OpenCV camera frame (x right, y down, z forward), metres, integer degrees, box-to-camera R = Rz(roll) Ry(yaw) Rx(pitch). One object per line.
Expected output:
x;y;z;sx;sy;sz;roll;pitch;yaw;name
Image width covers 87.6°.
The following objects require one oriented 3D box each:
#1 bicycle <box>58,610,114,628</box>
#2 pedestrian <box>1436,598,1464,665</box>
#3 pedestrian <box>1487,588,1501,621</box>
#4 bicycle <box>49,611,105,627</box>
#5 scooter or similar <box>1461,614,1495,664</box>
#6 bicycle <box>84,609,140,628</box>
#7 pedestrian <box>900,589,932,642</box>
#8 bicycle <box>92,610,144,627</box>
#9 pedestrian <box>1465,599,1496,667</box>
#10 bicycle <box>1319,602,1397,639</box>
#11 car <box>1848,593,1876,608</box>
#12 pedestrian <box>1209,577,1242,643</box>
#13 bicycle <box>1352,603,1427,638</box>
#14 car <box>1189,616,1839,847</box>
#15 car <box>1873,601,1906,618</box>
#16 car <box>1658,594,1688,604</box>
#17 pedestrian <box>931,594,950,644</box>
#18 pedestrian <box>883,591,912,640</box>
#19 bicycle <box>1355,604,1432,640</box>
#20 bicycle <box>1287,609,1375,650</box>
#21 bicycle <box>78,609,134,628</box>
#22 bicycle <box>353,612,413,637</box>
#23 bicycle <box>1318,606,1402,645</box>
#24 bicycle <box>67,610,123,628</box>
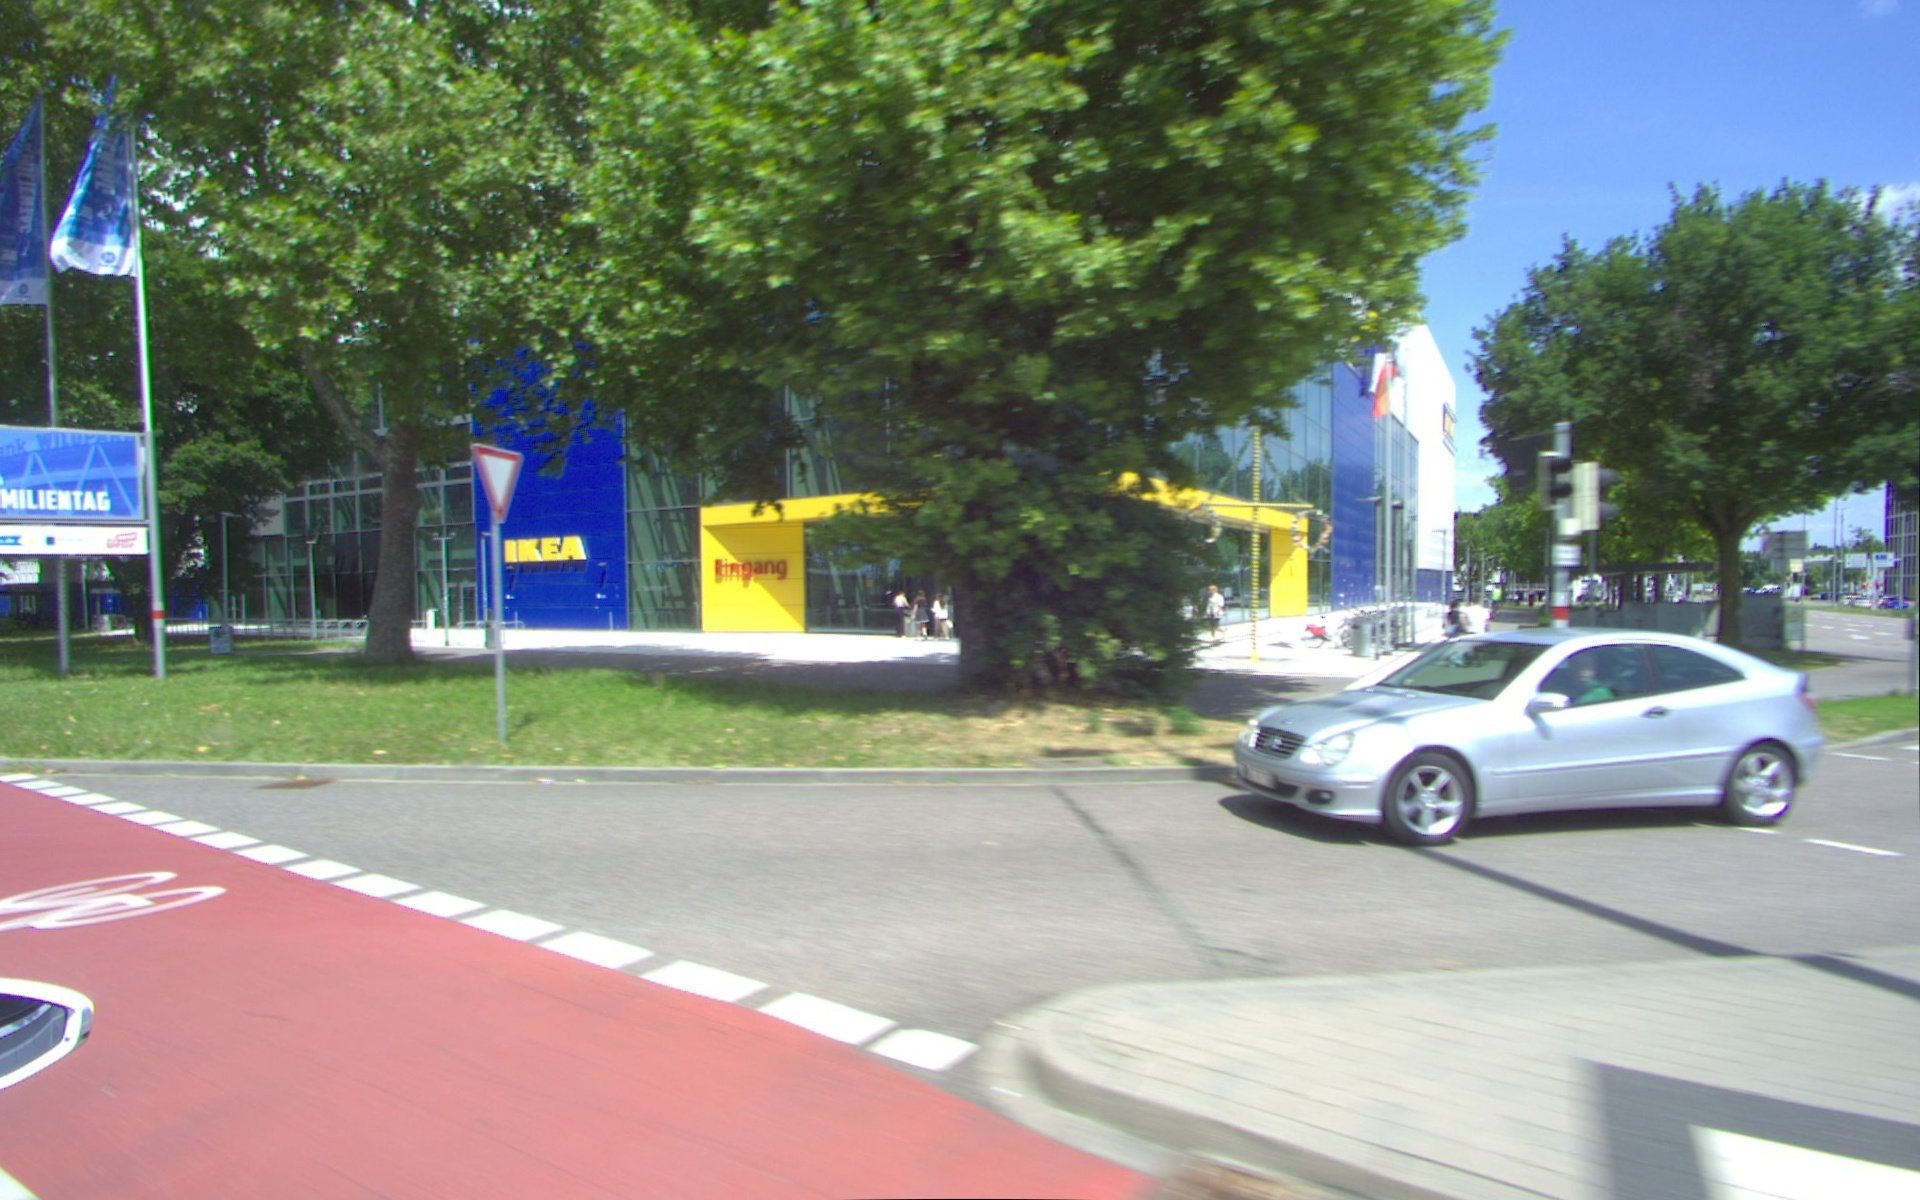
-54.837;1.194;62.867;0.746;1.125;2.544;0;0;26;bicycle
11.968;0.752;24.467;0.623;1.607;0.609;0;1;26;pedestrian
26.039;0.210;48.862;0.571;1.607;0.766;0;1;26;pedestrian
-55.936;1.218;63.466;0.746;0.983;2.544;0;0;26;bicycle
12.962;0.971;25.061;0.717;1.214;1.072;0;0;29;scooter or similar
-51.922;1.131;61.335;0.746;1.125;2.544;0;0;26;bicycle
-1.485;0.516;33.981;0.733;1.759;0.776;0;1;42;pedestrian
-50.898;1.102;60.553;0.746;0.973;2.315;0;0;26;bicycle
12.501;0.782;24.064;0.623;1.607;0.917;0;1;26;pedestrian
13.483;0.699;33.979;2.389;1.215;0.801;0;0;18;bicycle
99.868;0.070;110.921;1.736;1.633;3.530;-1;-1;32;car
8.327;0.305;31.379;0.724;2.040;0.793;0;1;39;pedestrian
15.333;0.734;35.836;2.389;1.215;0.801;0;0;18;bicycle
4.094;0.863;7.639;4.241;1.436;1.731;0;-1;-12;car
92.905;0.966;100.106;1.736;1.633;3.530;-1;-1;32;car
118.284;-0.205;166.217;3.623;1.633;1.800;0;0;7;car
-0.672;0.638;33.983;0.575;1.694;0.607;0;0;-7;pedestrian
-2.264;0.545;36.305;0.771;1.759;0.738;0;1;29;pedestrian
15.040;0.765;34.837;2.389;1.215;0.801;0;0;18;bicycle
10.894;0.854;29.506;2.389;1.160;0.801;0;0;18;bicycle
-52.733;1.151;61.874;0.746;1.125;2.544;0;0;26;bicycle
-24.377;1.018;42.327;0.855;0.982;2.058;0;0;27;bicycle
12.607;0.803;31.631;2.389;1.215;0.801;0;0;18;bicycle
-53.756;1.169;62.253;0.746;1.125;2.544;0;0;26;bicycle
